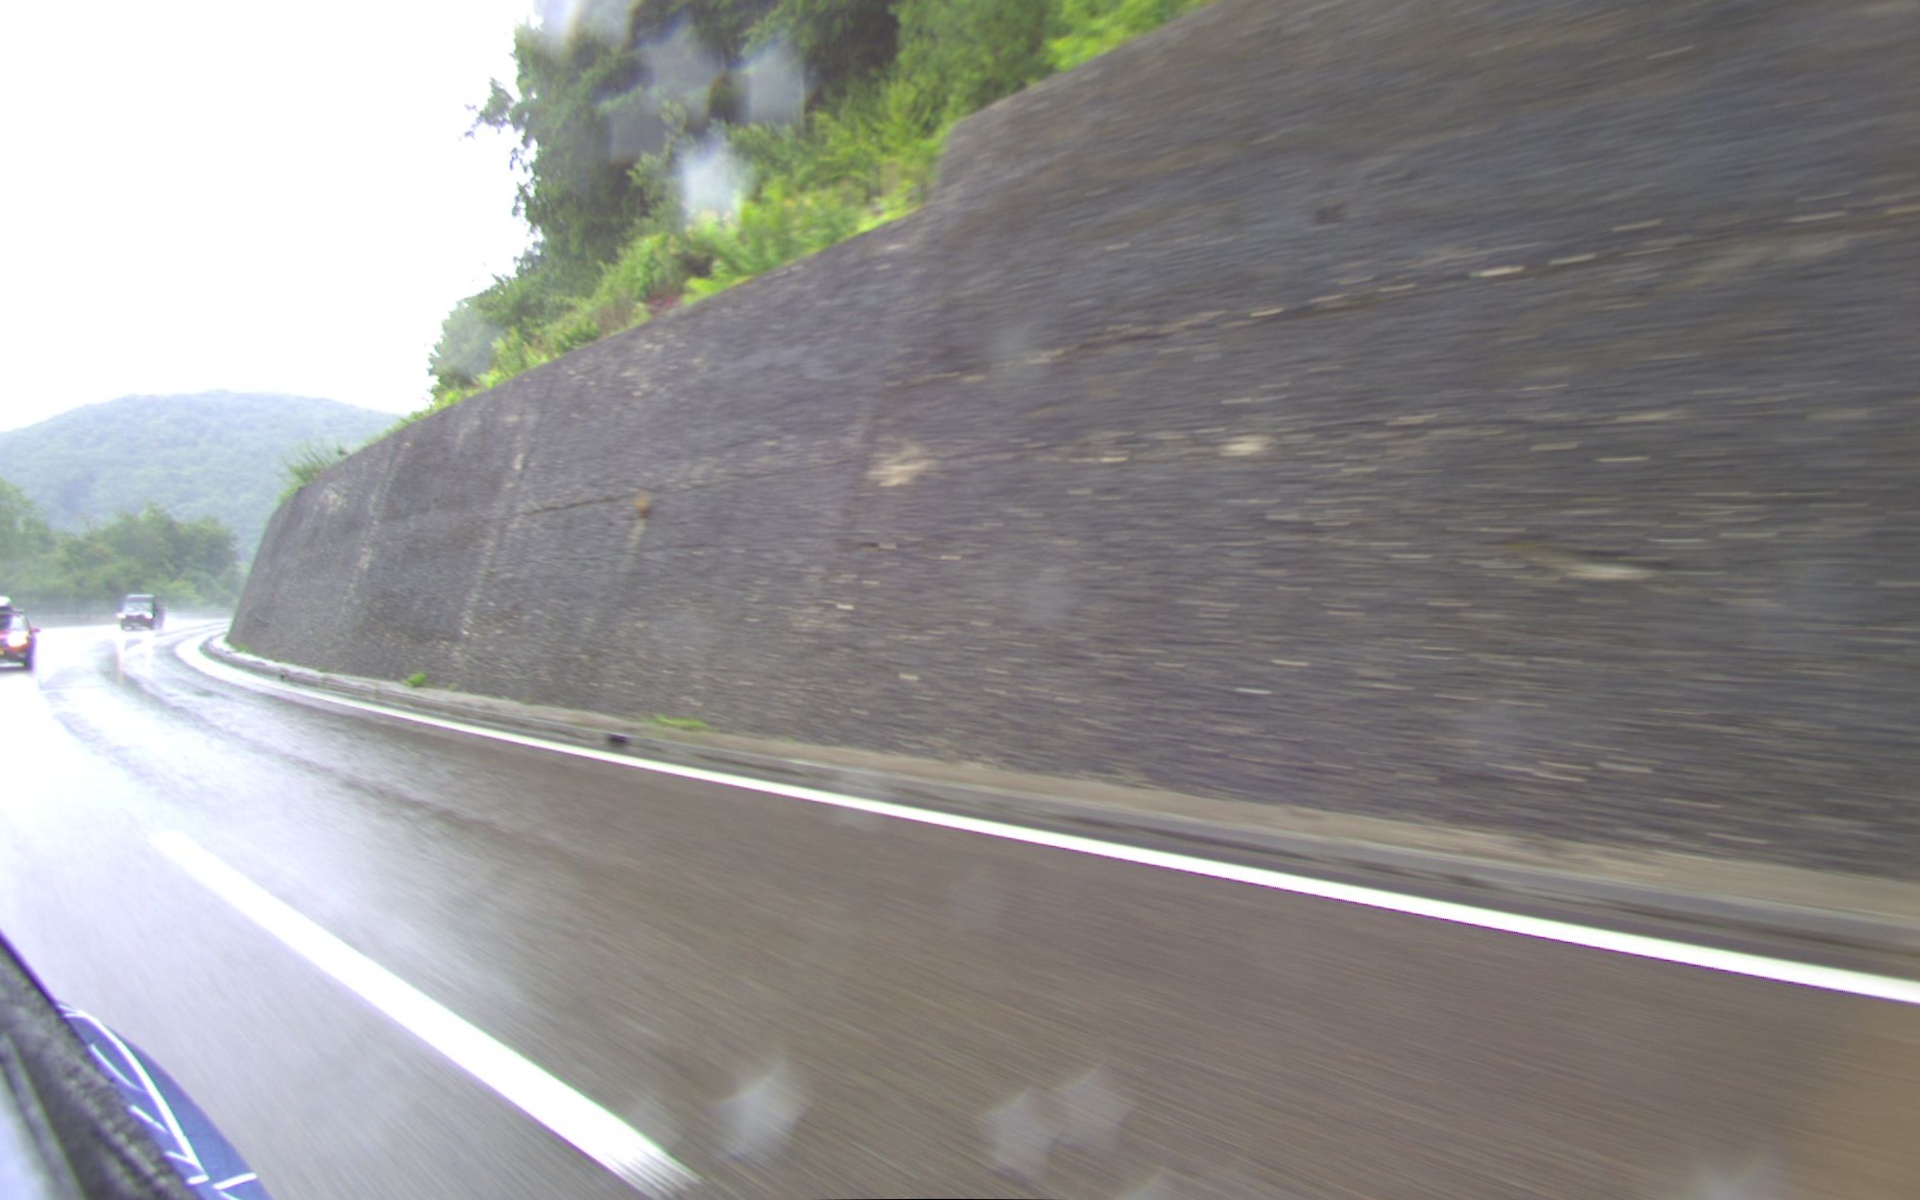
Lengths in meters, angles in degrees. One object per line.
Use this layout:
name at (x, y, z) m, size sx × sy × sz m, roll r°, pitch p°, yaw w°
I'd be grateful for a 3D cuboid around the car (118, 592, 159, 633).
car at (-62.196, 0.936, 76.679) m, size 1.713 × 3.048 × 4.013 m, roll 0°, pitch -1°, yaw -29°

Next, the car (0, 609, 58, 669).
car at (-27.108, 1.065, 28.428) m, size 2.324 × 1.570 × 5.509 m, roll 0°, pitch -1°, yaw -39°
